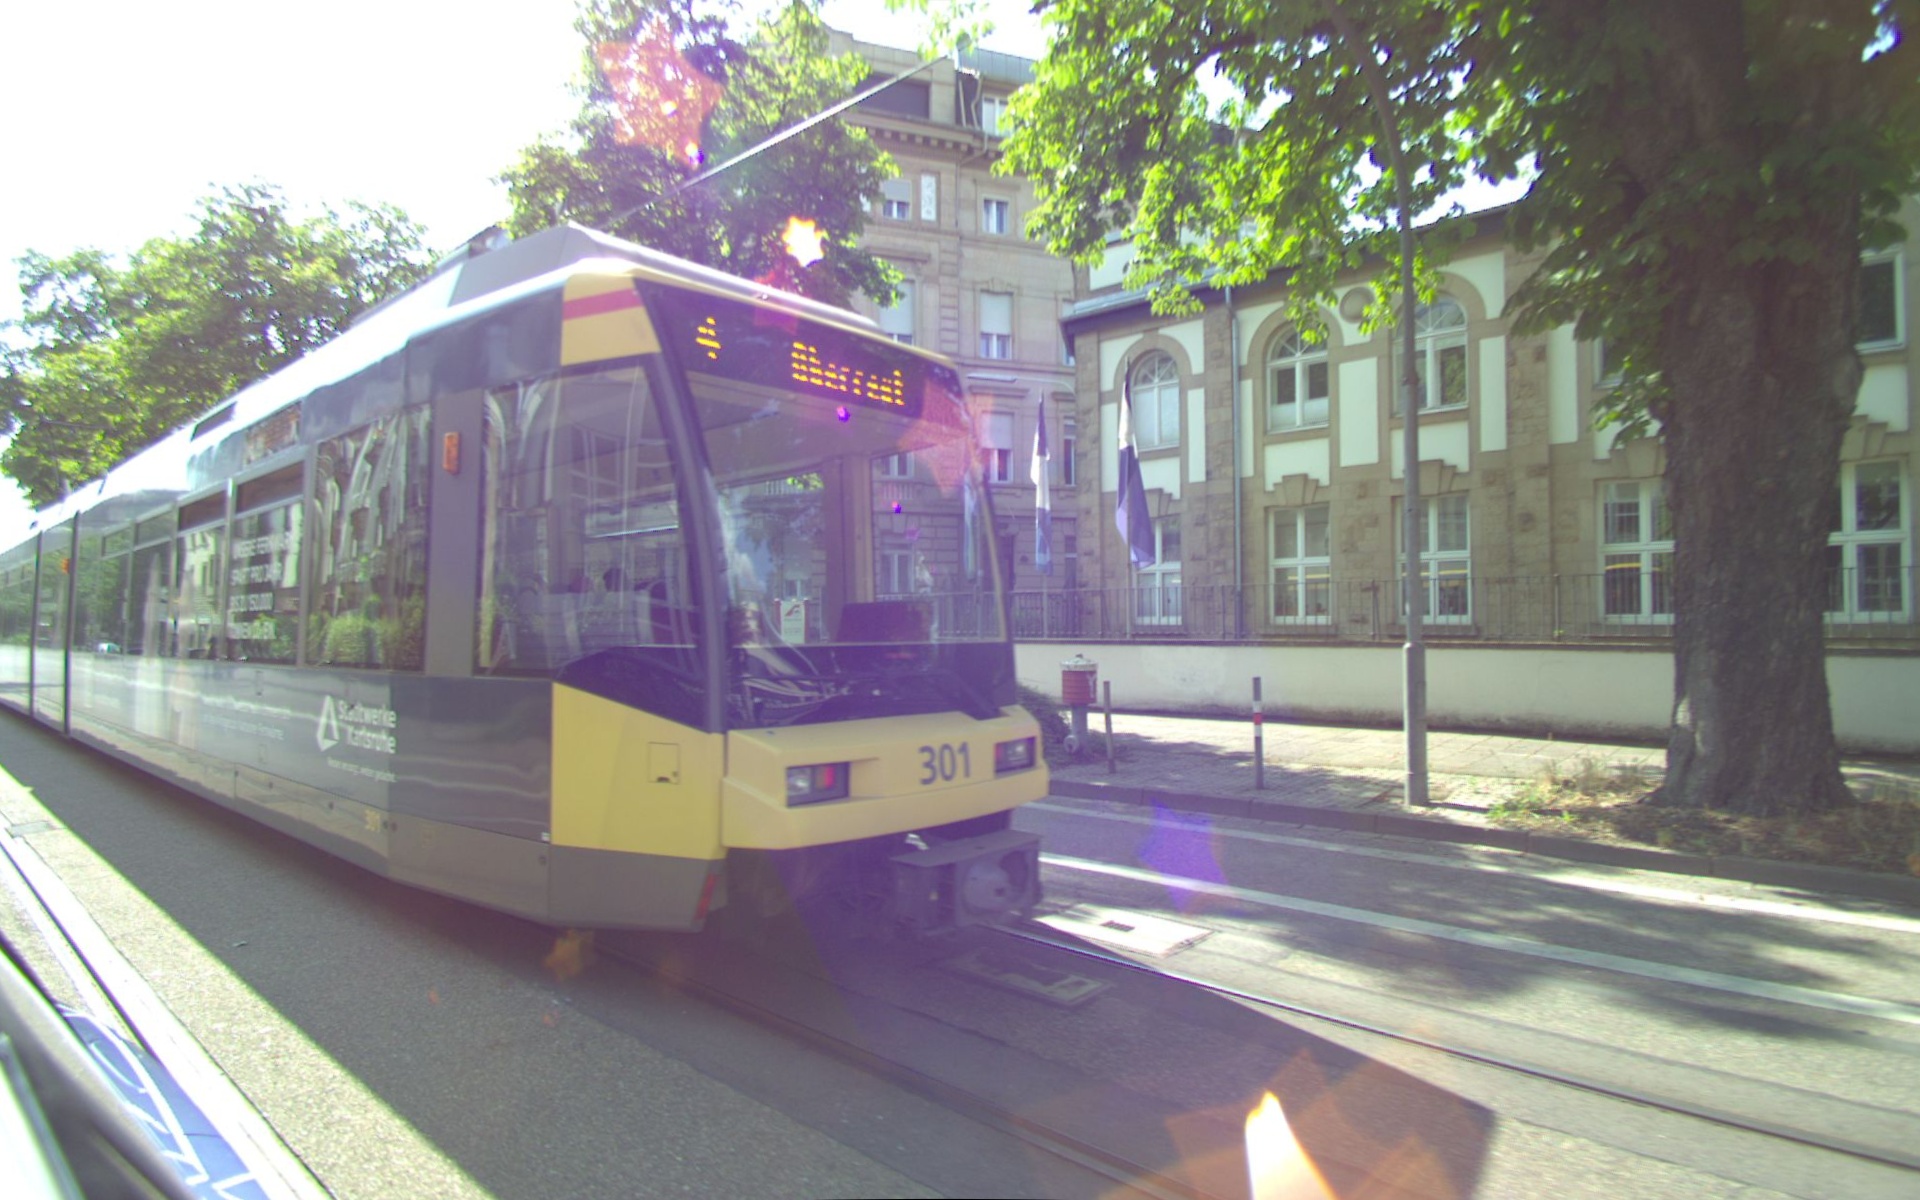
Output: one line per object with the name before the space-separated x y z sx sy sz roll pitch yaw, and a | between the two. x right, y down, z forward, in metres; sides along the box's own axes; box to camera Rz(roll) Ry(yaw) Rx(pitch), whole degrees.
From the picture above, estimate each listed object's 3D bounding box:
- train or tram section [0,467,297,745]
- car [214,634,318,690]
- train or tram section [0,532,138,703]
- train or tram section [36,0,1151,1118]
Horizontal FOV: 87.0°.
train or tram section | -14.635 0.231 17.258 11.470 3.415 2.624 -1 -4 42
car | -20.822 1.804 30.306 3.807 1.496 1.637 -1 0 41
train or tram section | -23.420 0.585 25.166 12.311 3.463 2.624 -3 -4 42
train or tram section | -5.169 -0.008 8.705 14.104 3.382 2.624 -1 -4 42
